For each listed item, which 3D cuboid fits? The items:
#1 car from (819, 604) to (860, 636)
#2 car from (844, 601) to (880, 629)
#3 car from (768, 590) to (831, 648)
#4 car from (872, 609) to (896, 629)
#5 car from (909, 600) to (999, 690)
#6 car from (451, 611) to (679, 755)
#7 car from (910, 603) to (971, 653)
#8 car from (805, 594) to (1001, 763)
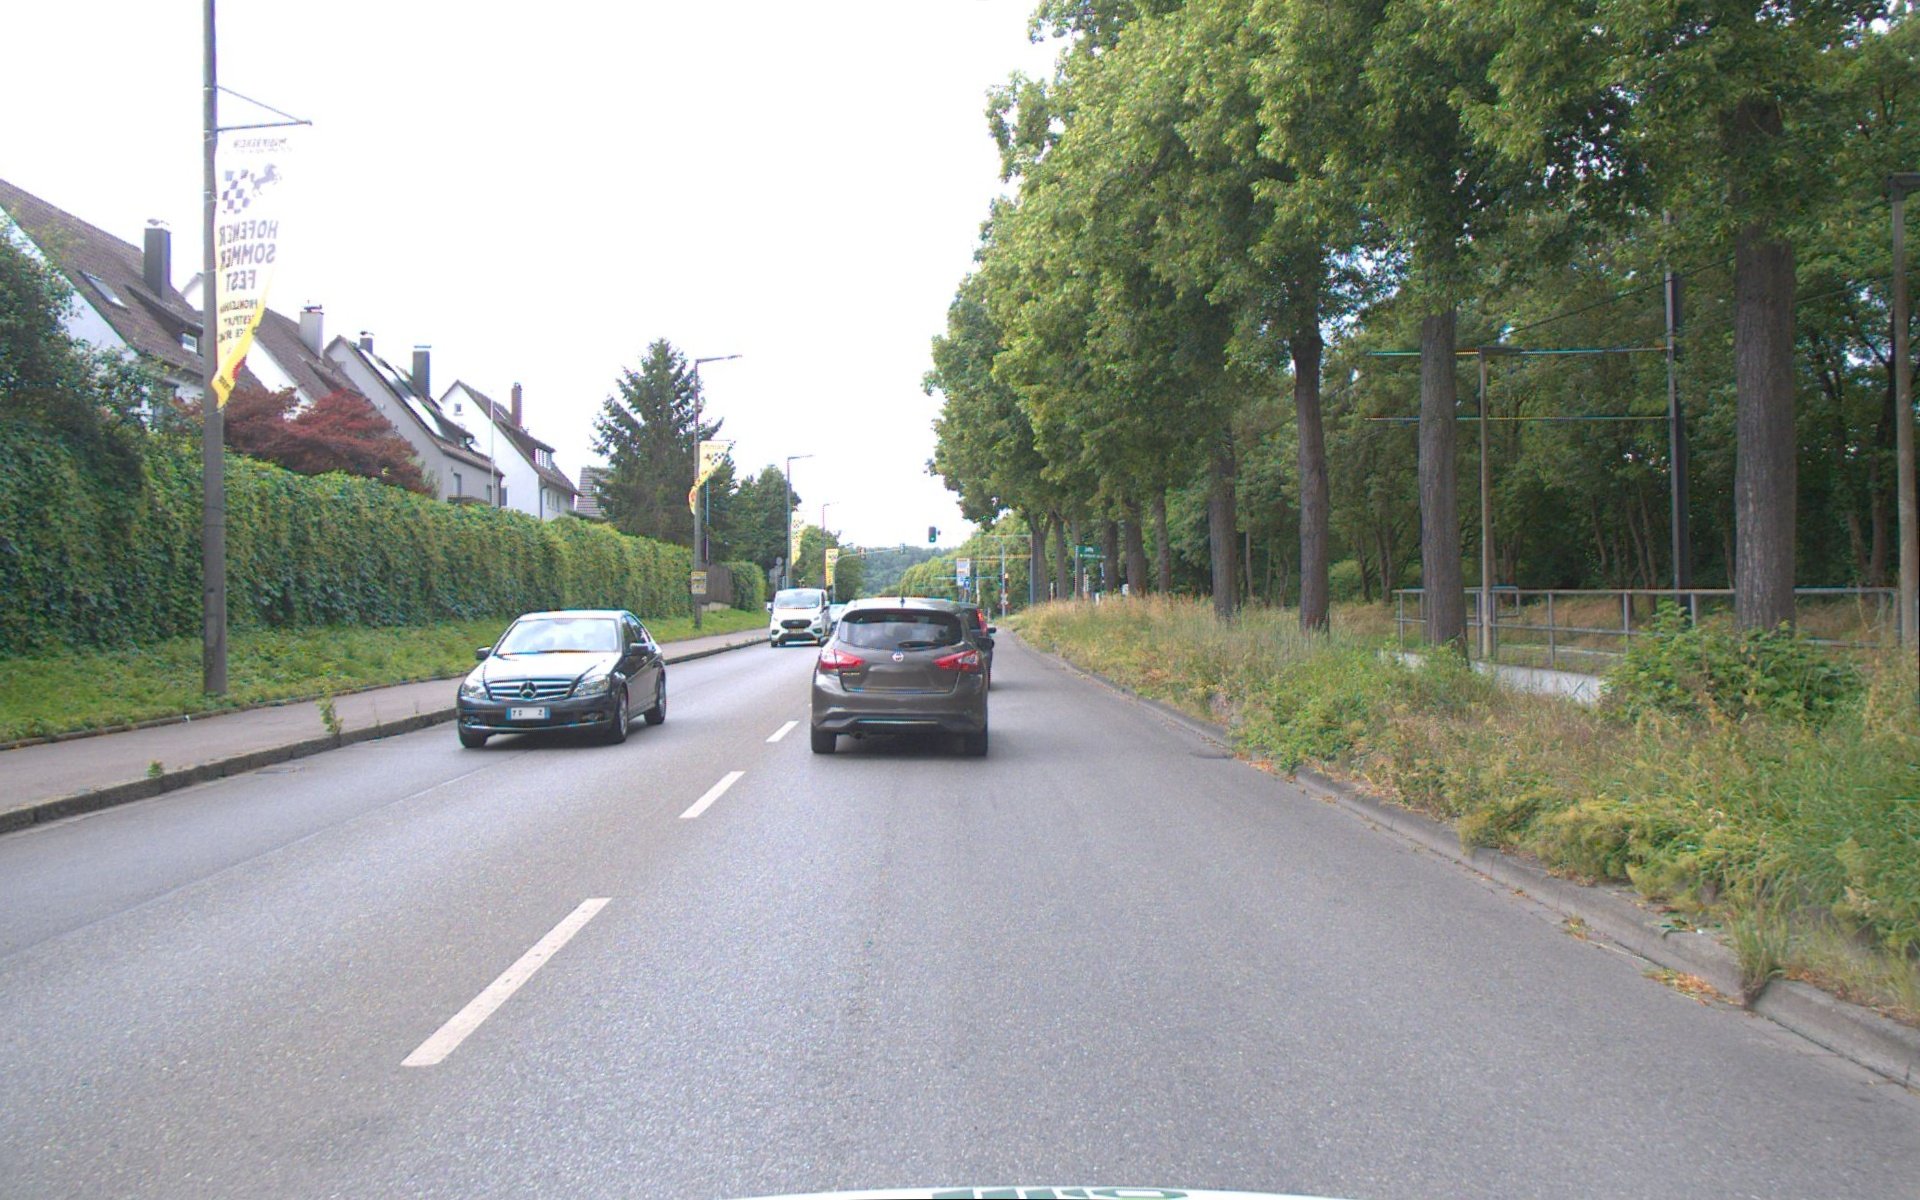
[{"bbox_3d":[-5.513,0.899,76.231,1.617,1.371,4.476,-1,0,-1],"label":"car"},{"bbox_3d":[-5.260,0.802,89.489,1.848,1.407,4.488,-2,0,-3],"label":"car"},{"bbox_3d":[-5.670,0.642,59.073,1.868,1.966,4.909,-1,0,-2],"label":"car"},{"bbox_3d":[-5.927,1.454,129.313,1.693,1.490,4.152,-2,0,-1],"label":"car"},{"bbox_3d":[-0.130,0.761,29.714,1.507,1.504,3.763,0,0,-1],"label":"car"},{"bbox_3d":[-4.416,0.863,19.128,1.698,1.399,4.238,-2,0,-2],"label":"car"},{"bbox_3d":[-0.596,0.819,49.898,1.755,1.421,3.999,-1,0,-1],"label":"car"},{"bbox_3d":[-0.558,0.734,17.681,1.798,1.545,4.482,1,0,-1],"label":"car"}]
